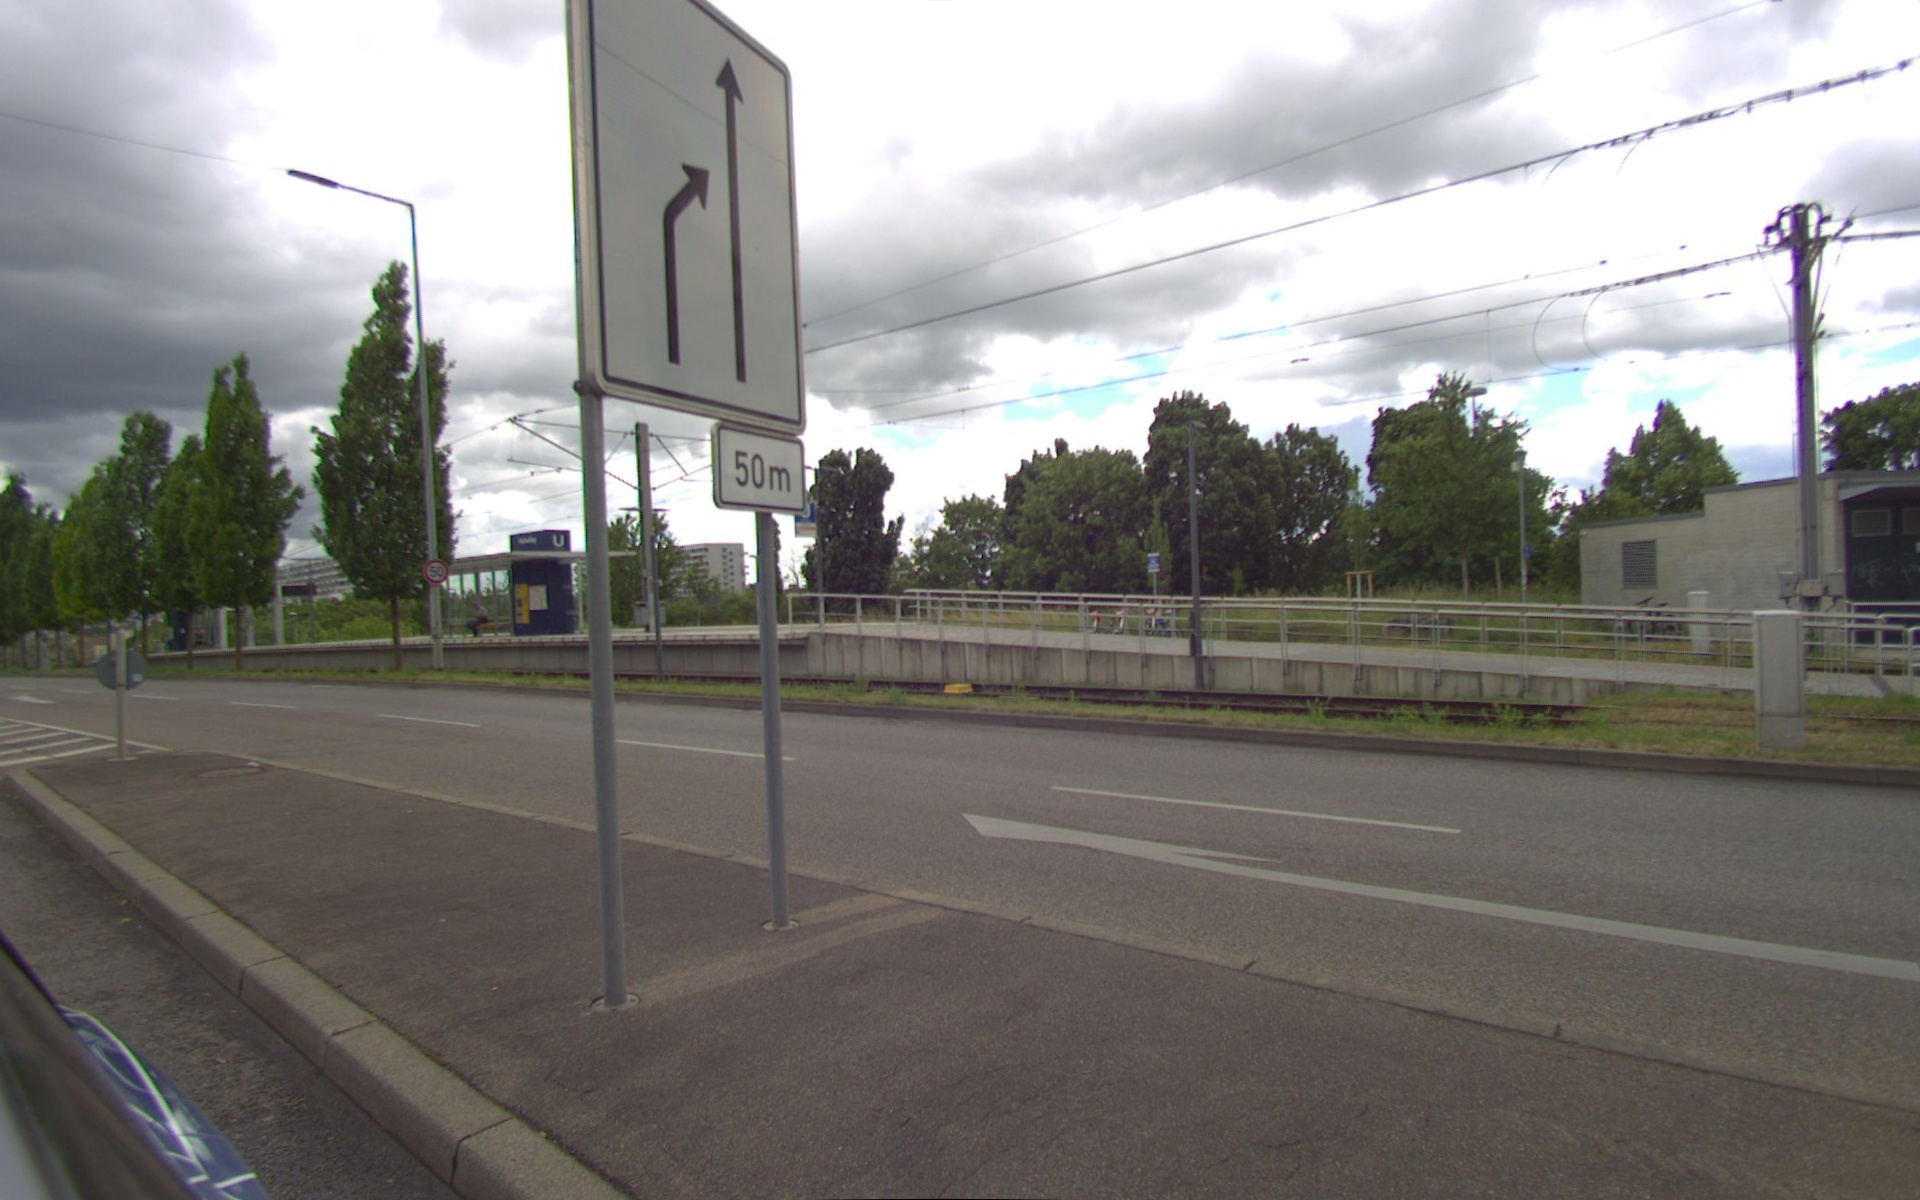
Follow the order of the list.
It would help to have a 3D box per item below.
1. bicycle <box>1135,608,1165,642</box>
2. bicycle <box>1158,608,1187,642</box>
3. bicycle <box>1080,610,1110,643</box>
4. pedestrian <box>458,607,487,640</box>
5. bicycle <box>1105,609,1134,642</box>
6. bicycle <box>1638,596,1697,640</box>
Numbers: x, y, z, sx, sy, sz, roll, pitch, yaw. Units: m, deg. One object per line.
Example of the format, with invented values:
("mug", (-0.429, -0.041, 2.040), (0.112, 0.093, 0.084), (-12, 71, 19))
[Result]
("bicycle", (6.383, 0.825, 33.945), (0.490, 1.095, 1.466), (-2, -1, 30))
("bicycle", (7.048, 0.815, 33.465), (0.490, 1.095, 1.466), (-2, -1, 30))
("bicycle", (4.685, 0.901, 35.158), (0.490, 1.095, 1.466), (-2, -1, 30))
("pedestrian", (-18.248, 0.879, 37.872), (0.781, 1.211, 0.656), (-2, -1, 33))
("bicycle", (5.442, 0.867, 34.456), (0.490, 1.095, 1.466), (-2, -1, 30))
("bicycle", (18.196, 0.457, 26.056), (0.486, 1.095, 1.480), (-1, -1, 3))
